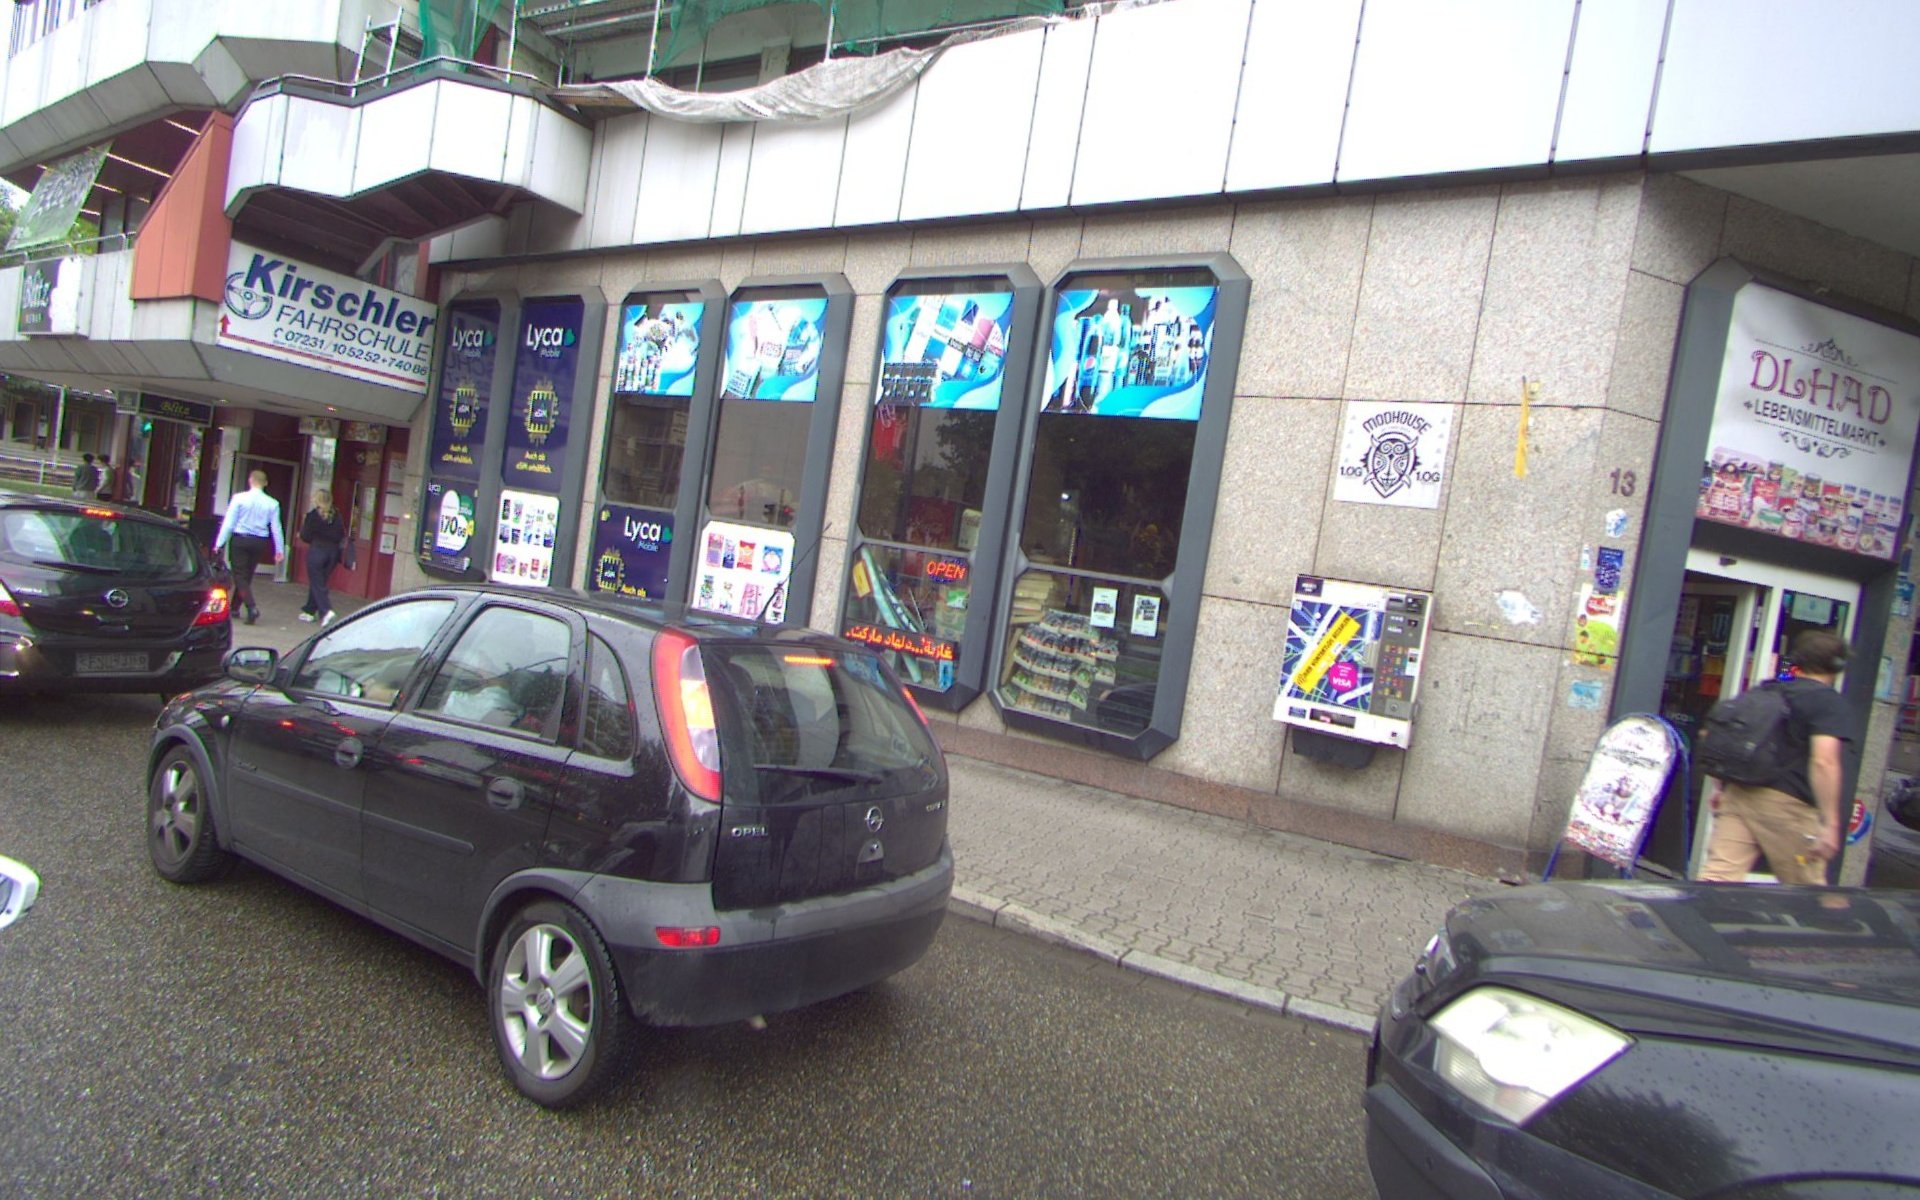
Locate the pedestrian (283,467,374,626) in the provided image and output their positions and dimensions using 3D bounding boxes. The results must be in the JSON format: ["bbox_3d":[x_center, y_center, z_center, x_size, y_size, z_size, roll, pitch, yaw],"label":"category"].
[{"bbox_3d":[-8.113,-0.675,12.932,0.629,1.961,0.736,6,4,31],"label":"pedestrian"}]

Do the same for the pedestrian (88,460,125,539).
[{"bbox_3d":[-18.693,-2.190,22.023,0.496,1.660,0.396,6,1,32],"label":"pedestrian"}]

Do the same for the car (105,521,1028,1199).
[{"bbox_3d":[-1.743,0.648,4.109,3.563,1.446,1.609,8,-1,33],"label":"car"}]

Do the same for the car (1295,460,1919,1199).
[{"bbox_3d":[2.815,0.955,1.419,4.095,1.786,1.763,8,-1,32],"label":"car"}]

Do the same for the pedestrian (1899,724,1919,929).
[{"bbox_3d":[7.378,1.459,7.221,0.733,1.841,0.769,6,4,40],"label":"pedestrian"}]

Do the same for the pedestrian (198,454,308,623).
[{"bbox_3d":[-8.689,-0.742,12.375,0.629,1.957,0.737,6,-1,31],"label":"pedestrian"}]

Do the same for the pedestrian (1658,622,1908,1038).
[{"bbox_3d":[4.145,1.065,5.080,0.763,1.841,0.739,7,4,43],"label":"pedestrian"}]

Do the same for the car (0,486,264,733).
[{"bbox_3d":[-7.035,-0.102,7.322,3.776,1.446,1.620,8,-1,29],"label":"car"}]

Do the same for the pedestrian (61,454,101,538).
[{"bbox_3d":[-18.636,-2.203,21.338,0.443,1.704,0.426,6,1,30],"label":"pedestrian"}]
